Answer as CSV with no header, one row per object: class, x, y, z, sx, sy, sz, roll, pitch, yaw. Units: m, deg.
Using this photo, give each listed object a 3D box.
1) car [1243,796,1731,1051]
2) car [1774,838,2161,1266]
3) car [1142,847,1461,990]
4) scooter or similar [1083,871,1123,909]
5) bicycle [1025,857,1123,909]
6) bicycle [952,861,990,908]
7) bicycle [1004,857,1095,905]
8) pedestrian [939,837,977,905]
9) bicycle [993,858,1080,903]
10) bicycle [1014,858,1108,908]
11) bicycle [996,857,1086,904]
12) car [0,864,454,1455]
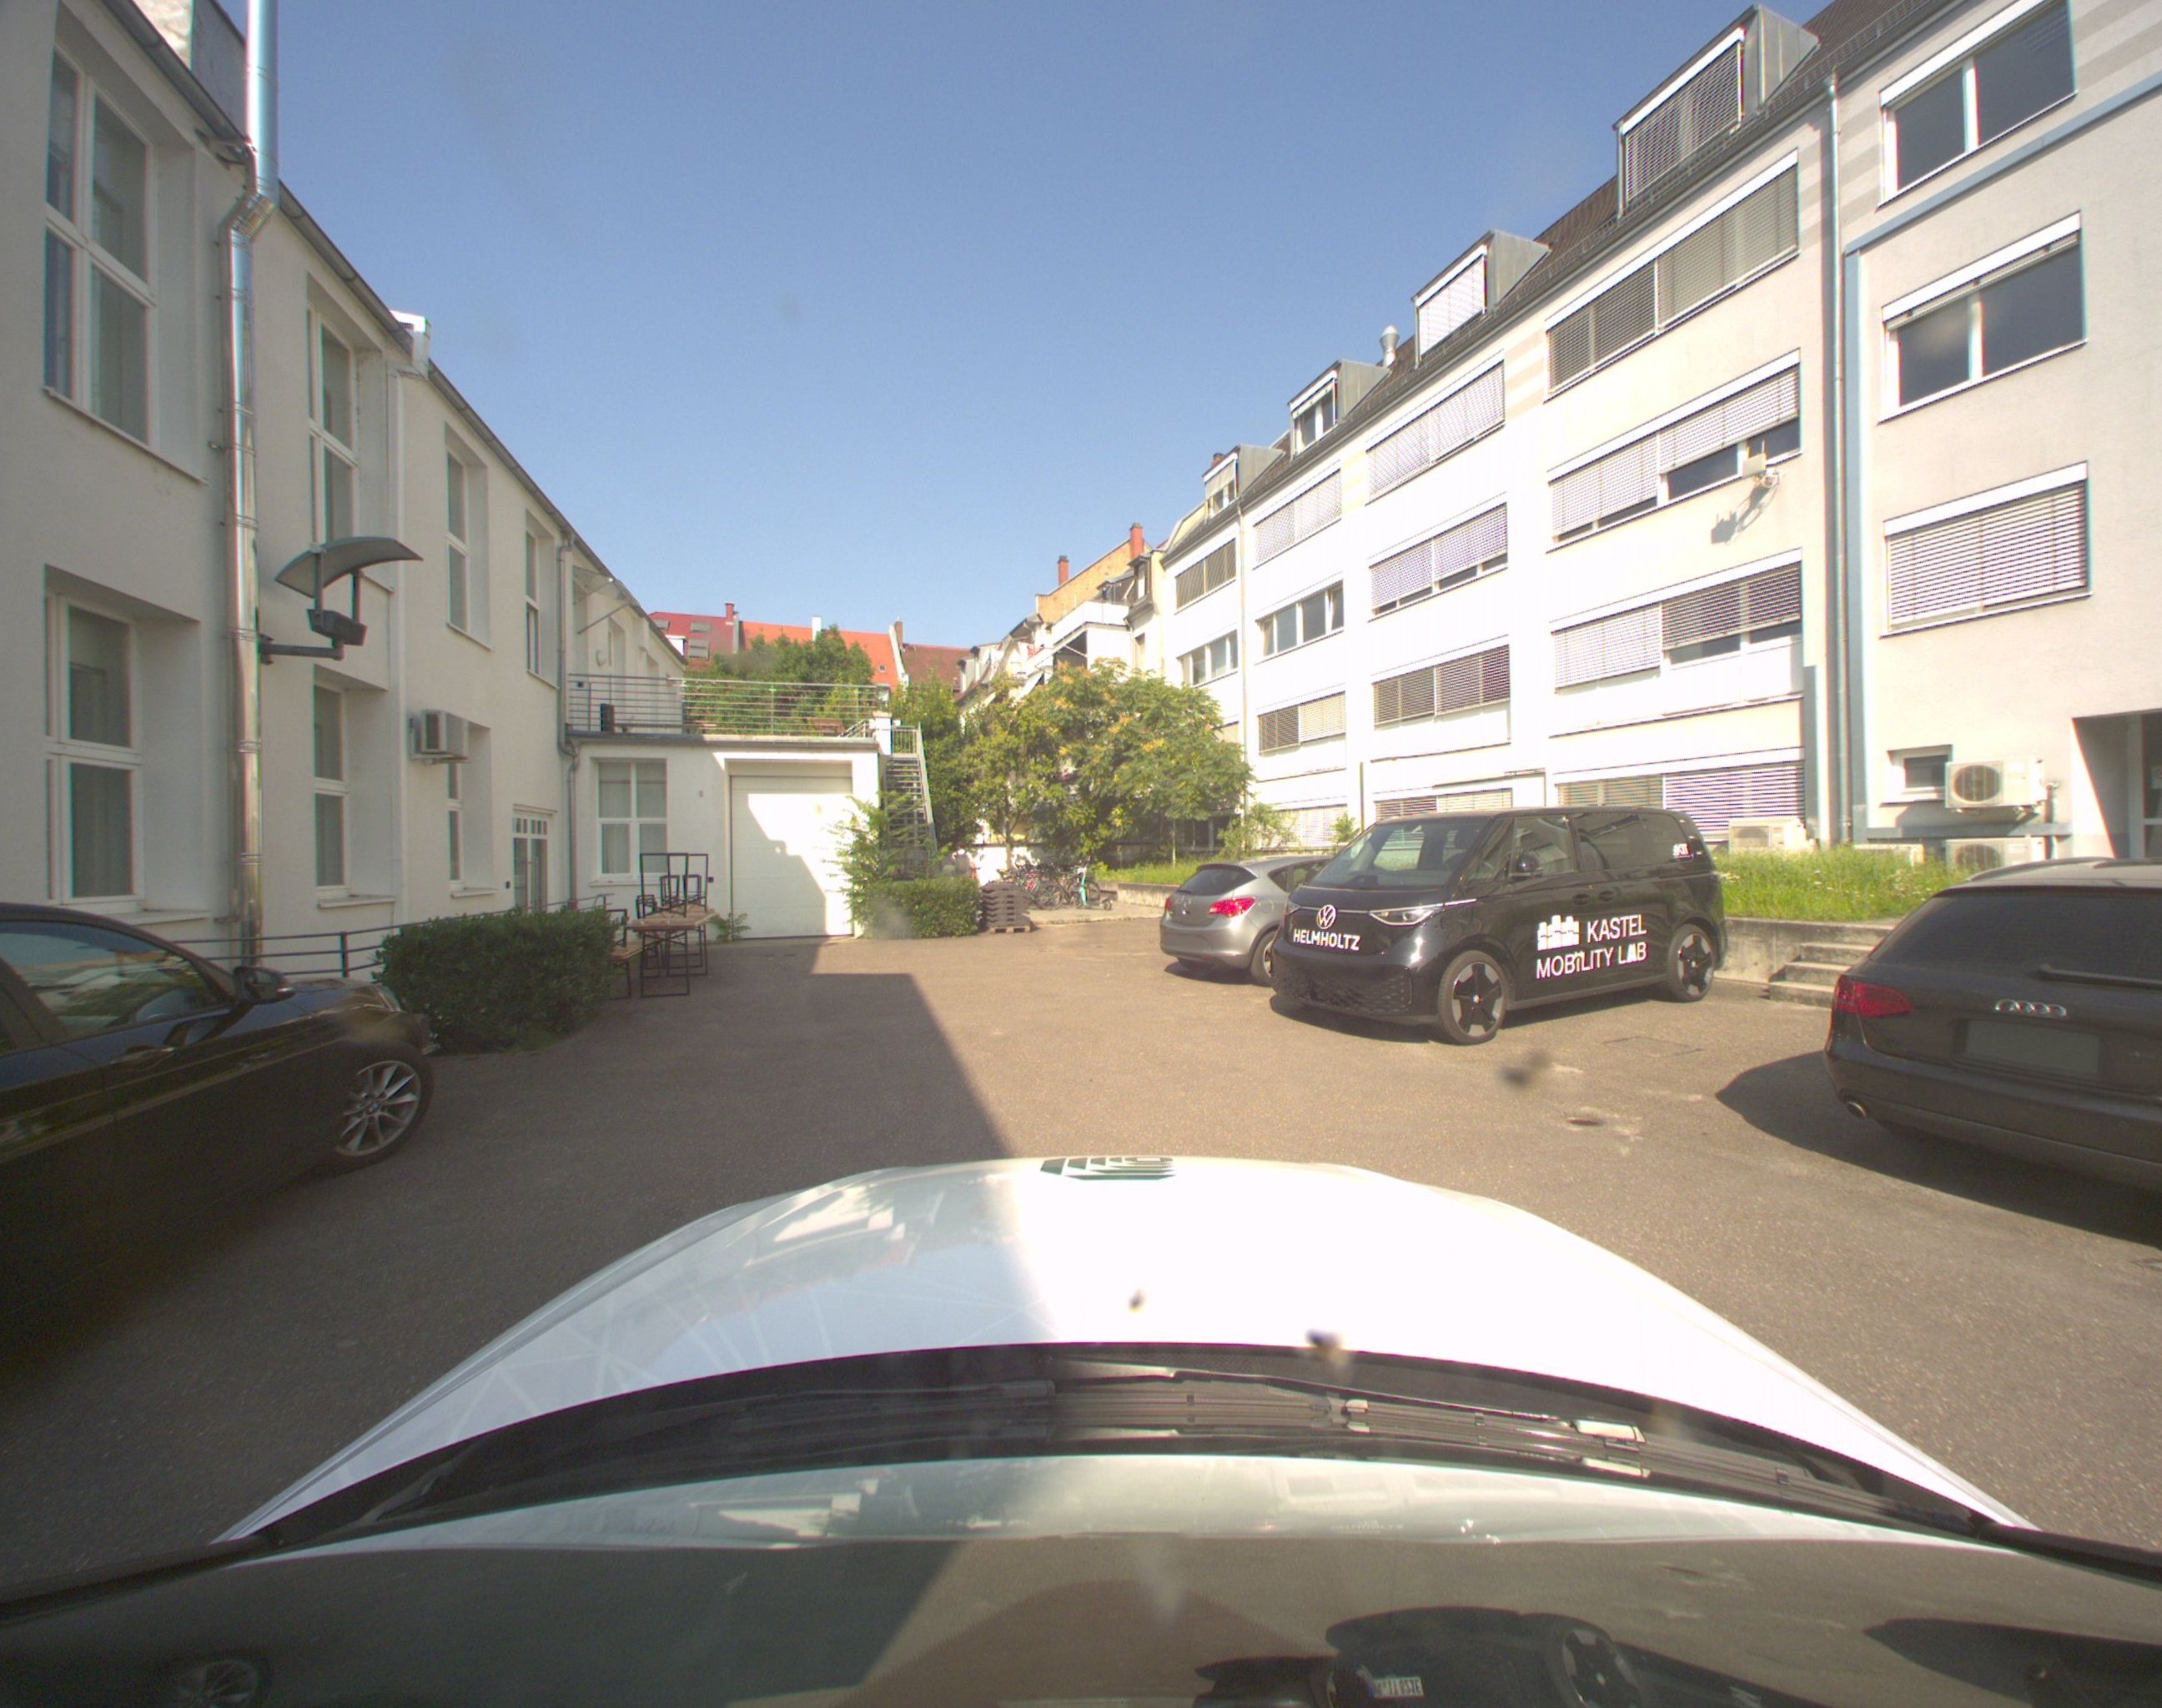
car,3.903,0.458,7.766,4.357,1.859,1.898,-1,0,-26
car,5.629,0.654,3.810,4.244,1.437,1.680,-1,0,-18
car,2.874,0.684,10.419,3.921,1.466,1.647,-2,1,-30
scooter or similar,0.546,0.883,20.331,0.986,0.924,0.362,0,0,36
bicycle,-0.175,0.717,20.607,2.416,1.246,0.523,0,0,-17
bicycle,-2.920,0.767,21.487,0.490,1.143,1.979,-2,1,-22
bicycle,-0.850,0.722,21.979,2.416,1.246,0.523,0,0,-17
pedestrian,-3.267,0.447,21.583,0.862,1.771,0.606,0,0,-22
bicycle,-1.263,0.732,23.195,2.416,1.246,0.523,0,0,-17
bicycle,-0.516,0.730,21.209,2.416,1.246,0.523,0,0,-17
bicycle,-1.096,0.710,22.503,2.416,1.246,0.523,0,0,-17
car,-3.722,0.771,2.334,1.798,1.428,4.110,0,0,-19
